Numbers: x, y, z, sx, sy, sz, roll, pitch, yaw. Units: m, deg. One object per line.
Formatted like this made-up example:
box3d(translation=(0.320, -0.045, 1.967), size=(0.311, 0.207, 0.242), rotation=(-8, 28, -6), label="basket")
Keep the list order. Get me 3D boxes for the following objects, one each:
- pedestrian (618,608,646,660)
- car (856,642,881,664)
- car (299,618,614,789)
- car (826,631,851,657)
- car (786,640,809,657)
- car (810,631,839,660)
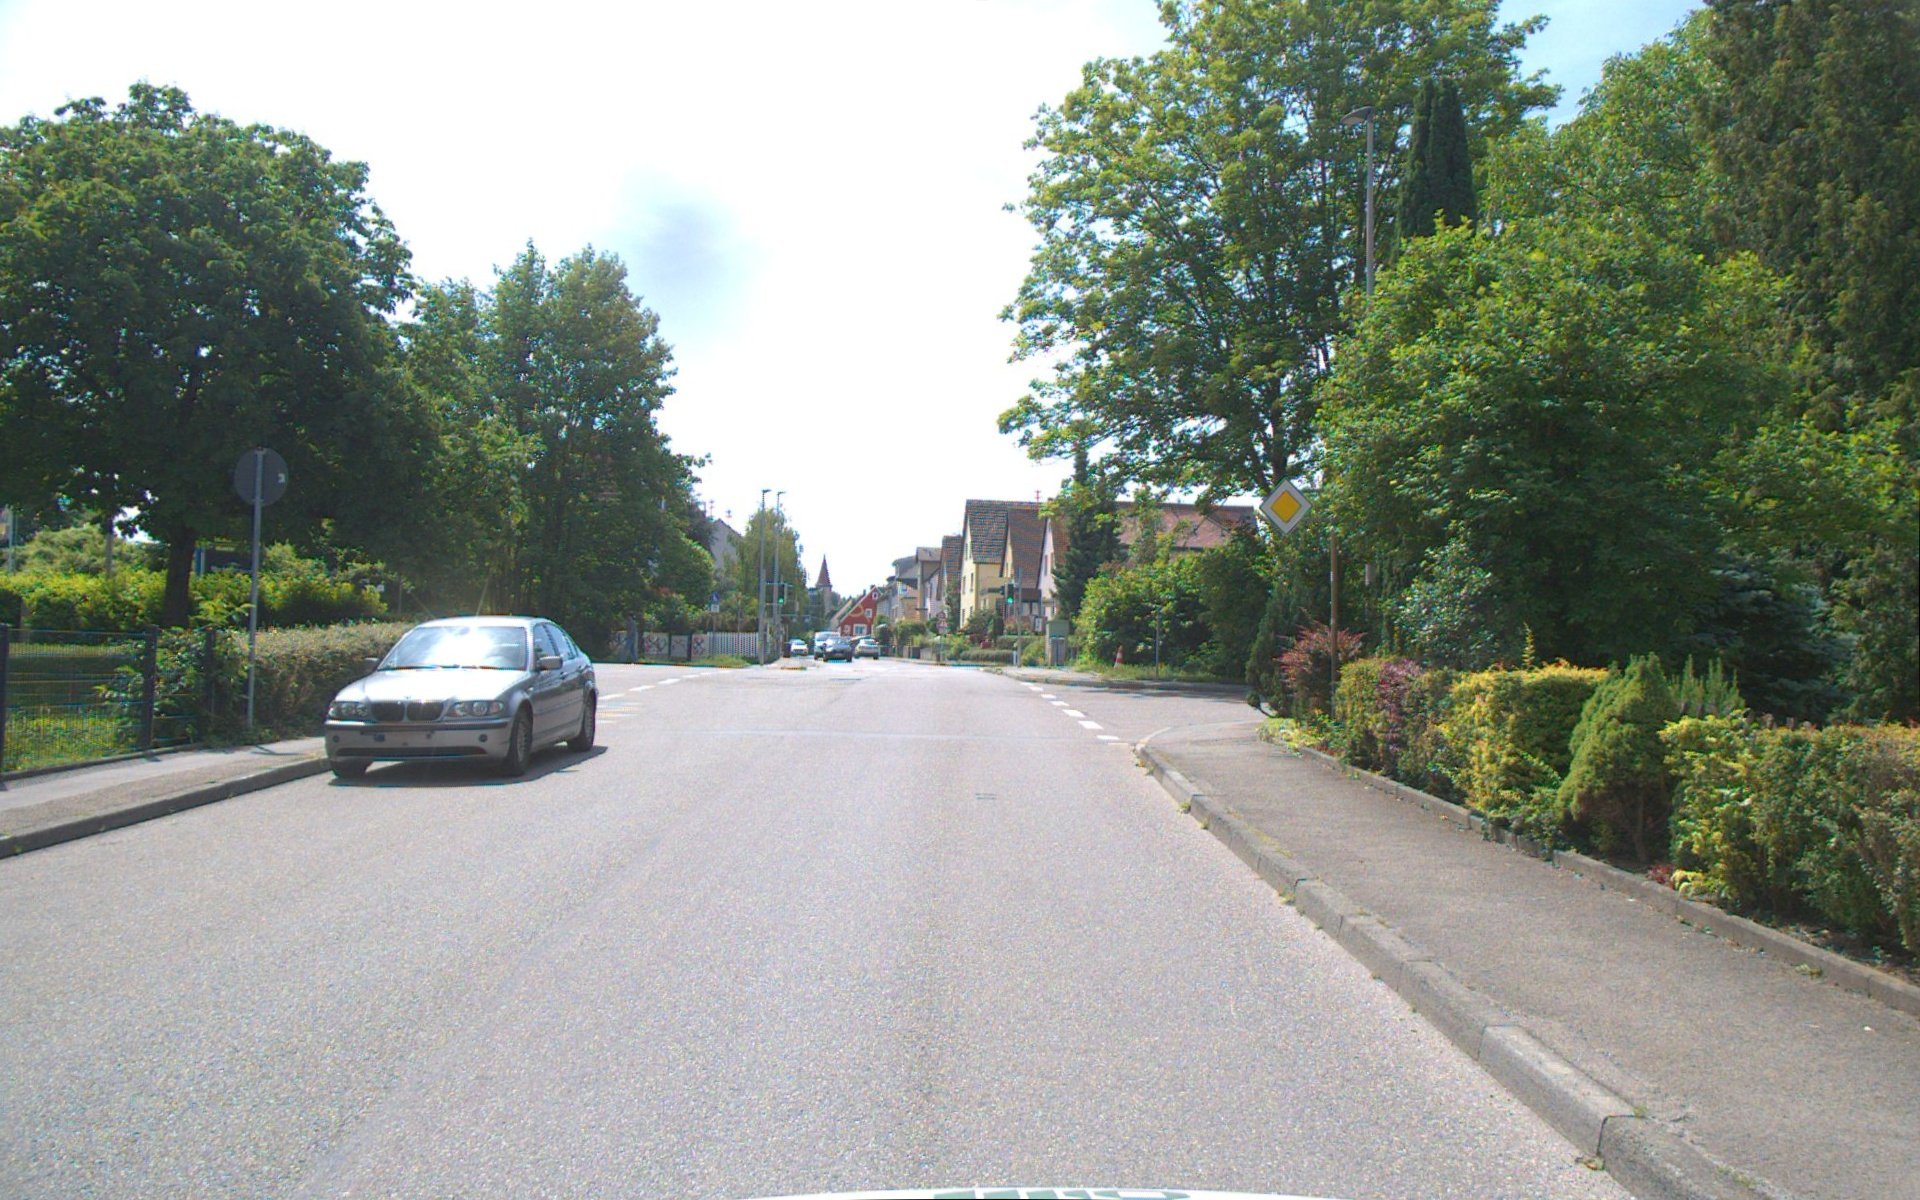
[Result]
box3d(translation=(-11.535, 1.202, 58.113), size=(0.720, 1.809, 0.690), rotation=(-2, -3, 17), label="pedestrian")
box3d(translation=(-7.468, 4.324, 135.227), size=(1.953, 1.631, 3.998), rotation=(0, 0, -2), label="car")
box3d(translation=(-4.691, 0.895, 16.106), size=(1.744, 1.419, 4.408), rotation=(0, -1, 0), label="car")
box3d(translation=(-7.833, 2.831, 106.533), size=(1.504, 1.568, 4.300), rotation=(1, -1, -5), label="car")
box3d(translation=(-16.101, 4.793, 163.850), size=(2.068, 1.588, 4.311), rotation=(1, -2, -3), label="car")
box3d(translation=(-9.747, 3.298, 118.703), size=(1.844, 1.999, 4.894), rotation=(-1, -2, -7), label="car")
